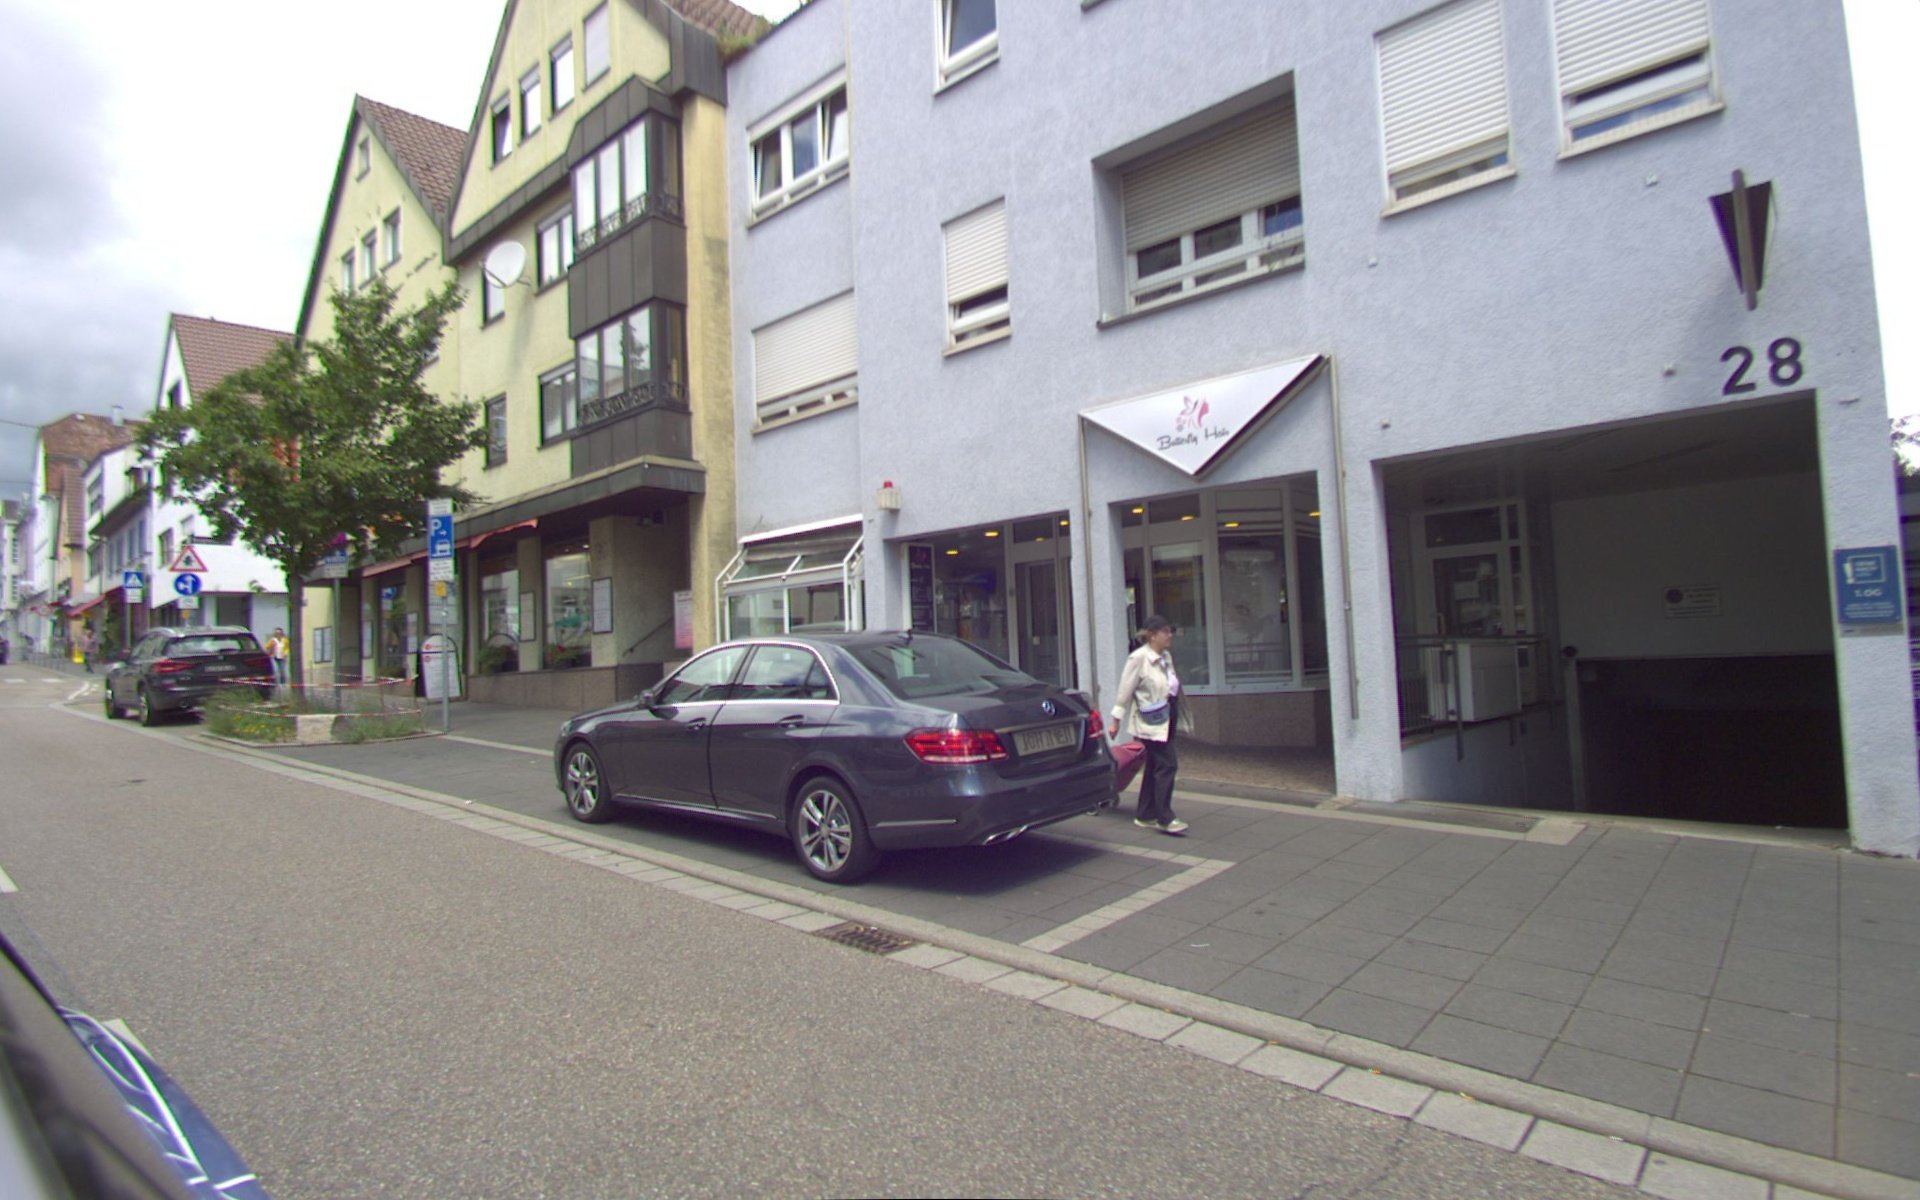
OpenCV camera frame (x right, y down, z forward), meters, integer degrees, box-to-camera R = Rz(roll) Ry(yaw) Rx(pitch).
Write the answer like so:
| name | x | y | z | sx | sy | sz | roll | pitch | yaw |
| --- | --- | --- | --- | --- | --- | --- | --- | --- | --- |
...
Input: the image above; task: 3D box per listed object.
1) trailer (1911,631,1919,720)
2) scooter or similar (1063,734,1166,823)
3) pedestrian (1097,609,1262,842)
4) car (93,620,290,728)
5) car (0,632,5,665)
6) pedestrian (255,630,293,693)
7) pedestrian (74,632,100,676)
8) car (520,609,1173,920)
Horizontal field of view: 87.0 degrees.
| name | x | y | z | sx | sy | sz | roll | pitch | yaw |
| --- | --- | --- | --- | --- | --- | --- | --- | --- | --- |
| trailer | 9.496 | 0.886 | 9.426 | 0.789 | 1.222 | 1.218 | -6 | -5 | 41 |
| scooter or similar | 1.161 | 1.322 | 7.589 | 0.572 | 0.523 | 0.519 | -1 | 0 | 40 |
| pedestrian | 1.539 | 0.815 | 7.082 | 0.809 | 1.474 | 0.817 | -1 | 0 | 40 |
| car | -14.252 | 1.300 | 18.669 | 4.604 | 1.706 | 1.986 | -3 | -1 | 41 |
| car | -49.947 | 2.419 | 51.260 | 4.356 | 1.633 | 1.941 | -2 | -5 | 44 |
| pedestrian | -19.538 | 1.736 | 28.836 | 0.835 | 1.752 | 0.630 | -2 | -4 | 39 |
| pedestrian | -35.304 | 2.166 | 40.925 | 0.825 | 1.753 | 0.686 | -2 | -3 | 44 |
| car | -1.096 | 0.892 | 7.379 | 4.839 | 1.504 | 1.907 | -2 | 0 | 40 |
